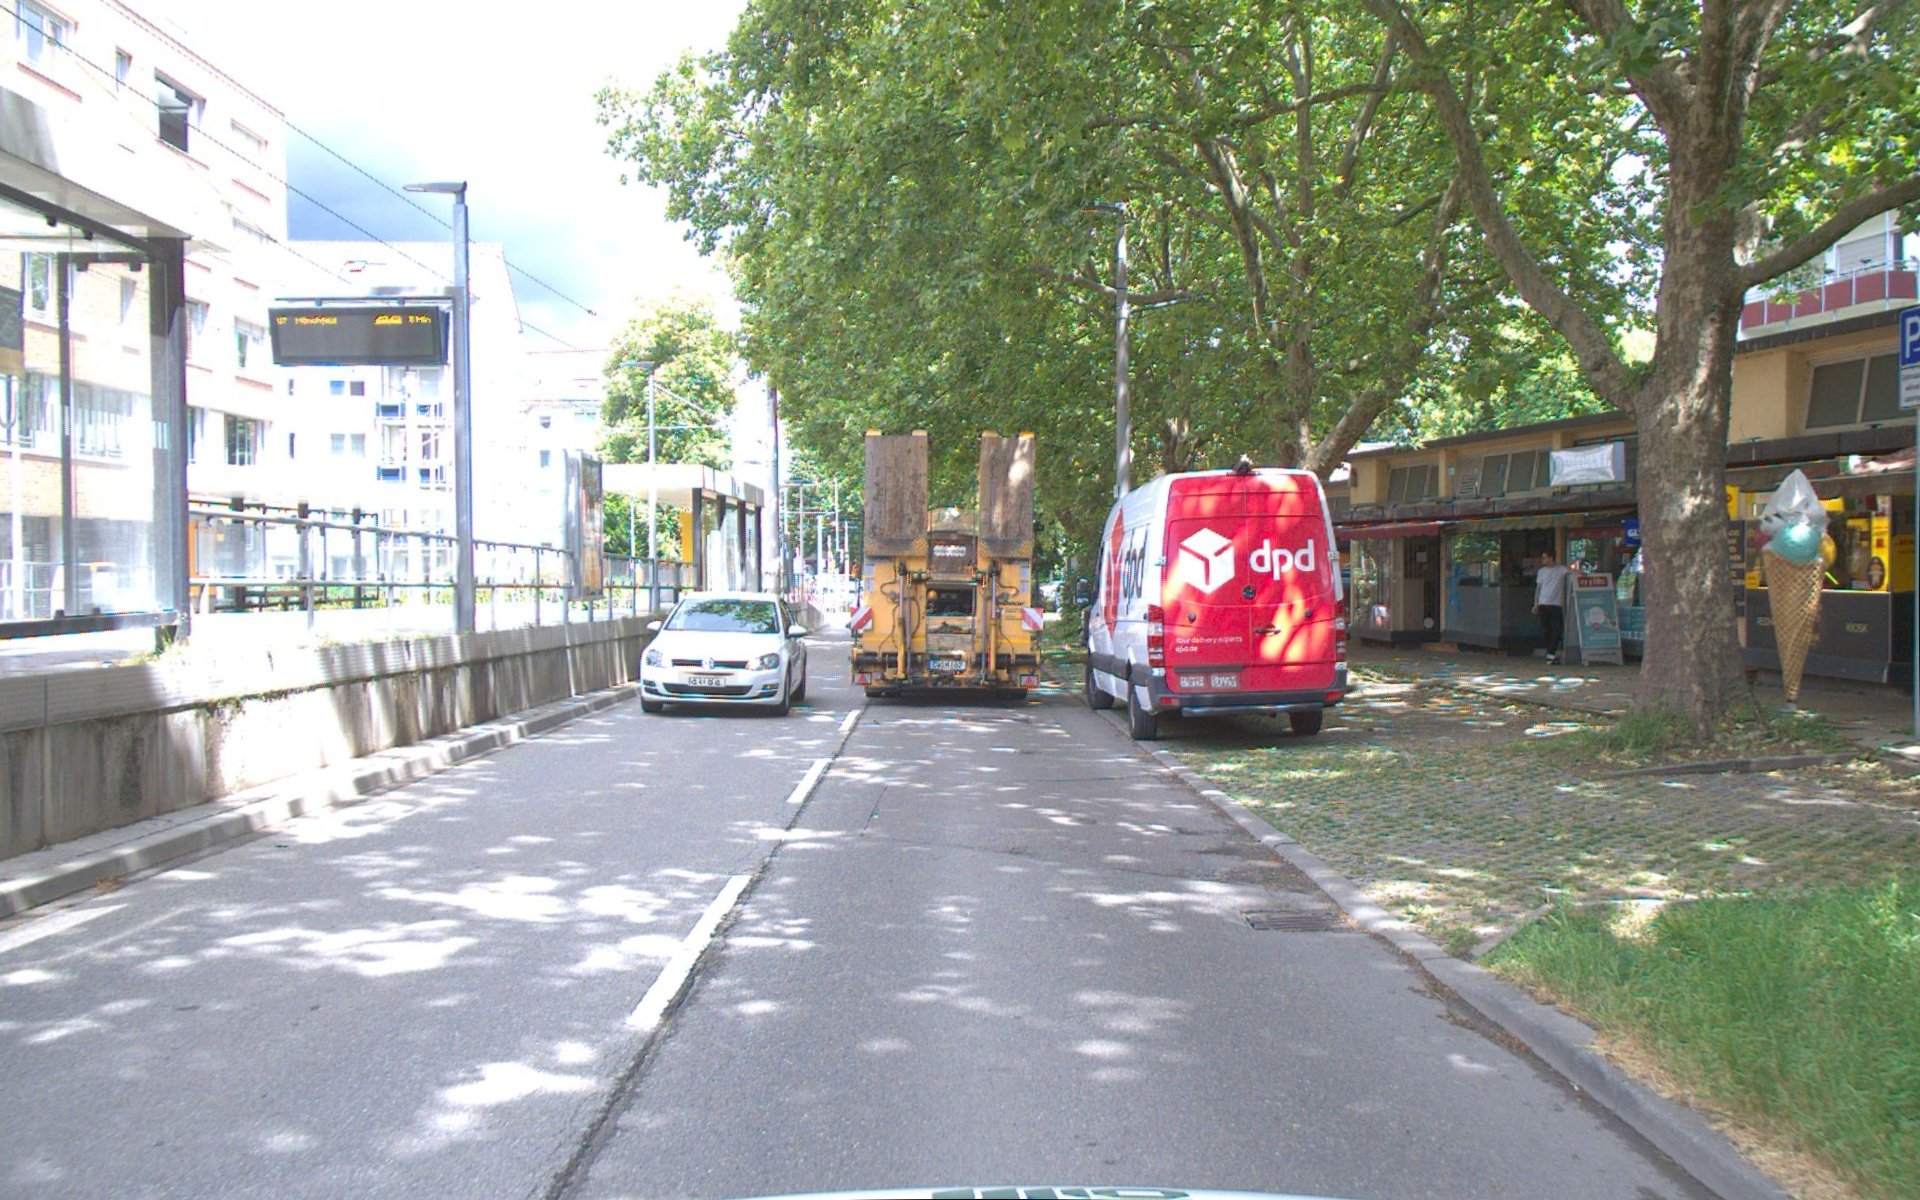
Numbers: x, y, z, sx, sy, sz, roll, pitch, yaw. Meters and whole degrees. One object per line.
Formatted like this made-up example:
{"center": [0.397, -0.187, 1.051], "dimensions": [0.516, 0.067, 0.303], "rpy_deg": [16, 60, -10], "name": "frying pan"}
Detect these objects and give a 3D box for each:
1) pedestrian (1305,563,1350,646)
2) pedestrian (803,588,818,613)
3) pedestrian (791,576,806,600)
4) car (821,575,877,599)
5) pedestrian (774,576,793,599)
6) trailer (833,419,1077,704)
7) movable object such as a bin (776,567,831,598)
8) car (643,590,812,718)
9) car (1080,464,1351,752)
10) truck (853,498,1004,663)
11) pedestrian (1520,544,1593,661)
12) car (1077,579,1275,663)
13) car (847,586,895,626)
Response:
{"center": [7.920, 0.092, 35.648], "dimensions": [0.744, 1.755, 0.658], "rpy_deg": [-1, 0, -5], "name": "pedestrian"}
{"center": [-11.417, 0.028, 126.577], "dimensions": [0.876, 1.900, 0.829], "rpy_deg": [1, 0, -29], "name": "pedestrian"}
{"center": [-12.252, -0.899, 125.544], "dimensions": [0.866, 1.791, 0.838], "rpy_deg": [1, 0, 16], "name": "pedestrian"}
{"center": [-10.554, -1.230, 157.138], "dimensions": [5.005, 2.138, 1.969], "rpy_deg": [1, 1, -15], "name": "car"}
{"center": [-13.551, -0.934, 126.891], "dimensions": [0.873, 1.745, 1.103], "rpy_deg": [1, 0, 45], "name": "pedestrian"}
{"center": [-0.319, -0.528, 26.778], "dimensions": [3.091, 3.614, 11.091], "rpy_deg": [1, 0, -3], "name": "trailer"}
{"center": [-13.716, -1.533, 144.841], "dimensions": [4.281, 2.675, 2.218], "rpy_deg": [1, 0, 26], "name": "movable object such as a bin"}
{"center": [-2.824, 0.606, 20.775], "dimensions": [1.697, 1.420, 3.750], "rpy_deg": [1, 0, -2], "name": "car"}
{"center": [2.633, 0.049, 18.816], "dimensions": [1.866, 2.626, 6.832], "rpy_deg": [-2, 0, -1], "name": "car"}
{"center": [-0.803, -0.407, 36.262], "dimensions": [2.930, 3.190, 7.883], "rpy_deg": [1, 0, -3], "name": "truck"}
{"center": [9.514, 0.044, 26.392], "dimensions": [0.910, 1.832, 0.602], "rpy_deg": [-2, -1, 44], "name": "pedestrian"}
{"center": [4.451, 0.421, 34.319], "dimensions": [3.757, 1.589, 1.617], "rpy_deg": [-1, 0, -8], "name": "car"}
{"center": [-3.543, 0.222, 66.503], "dimensions": [1.726, 1.506, 4.575], "rpy_deg": [2, 0, -2], "name": "car"}
